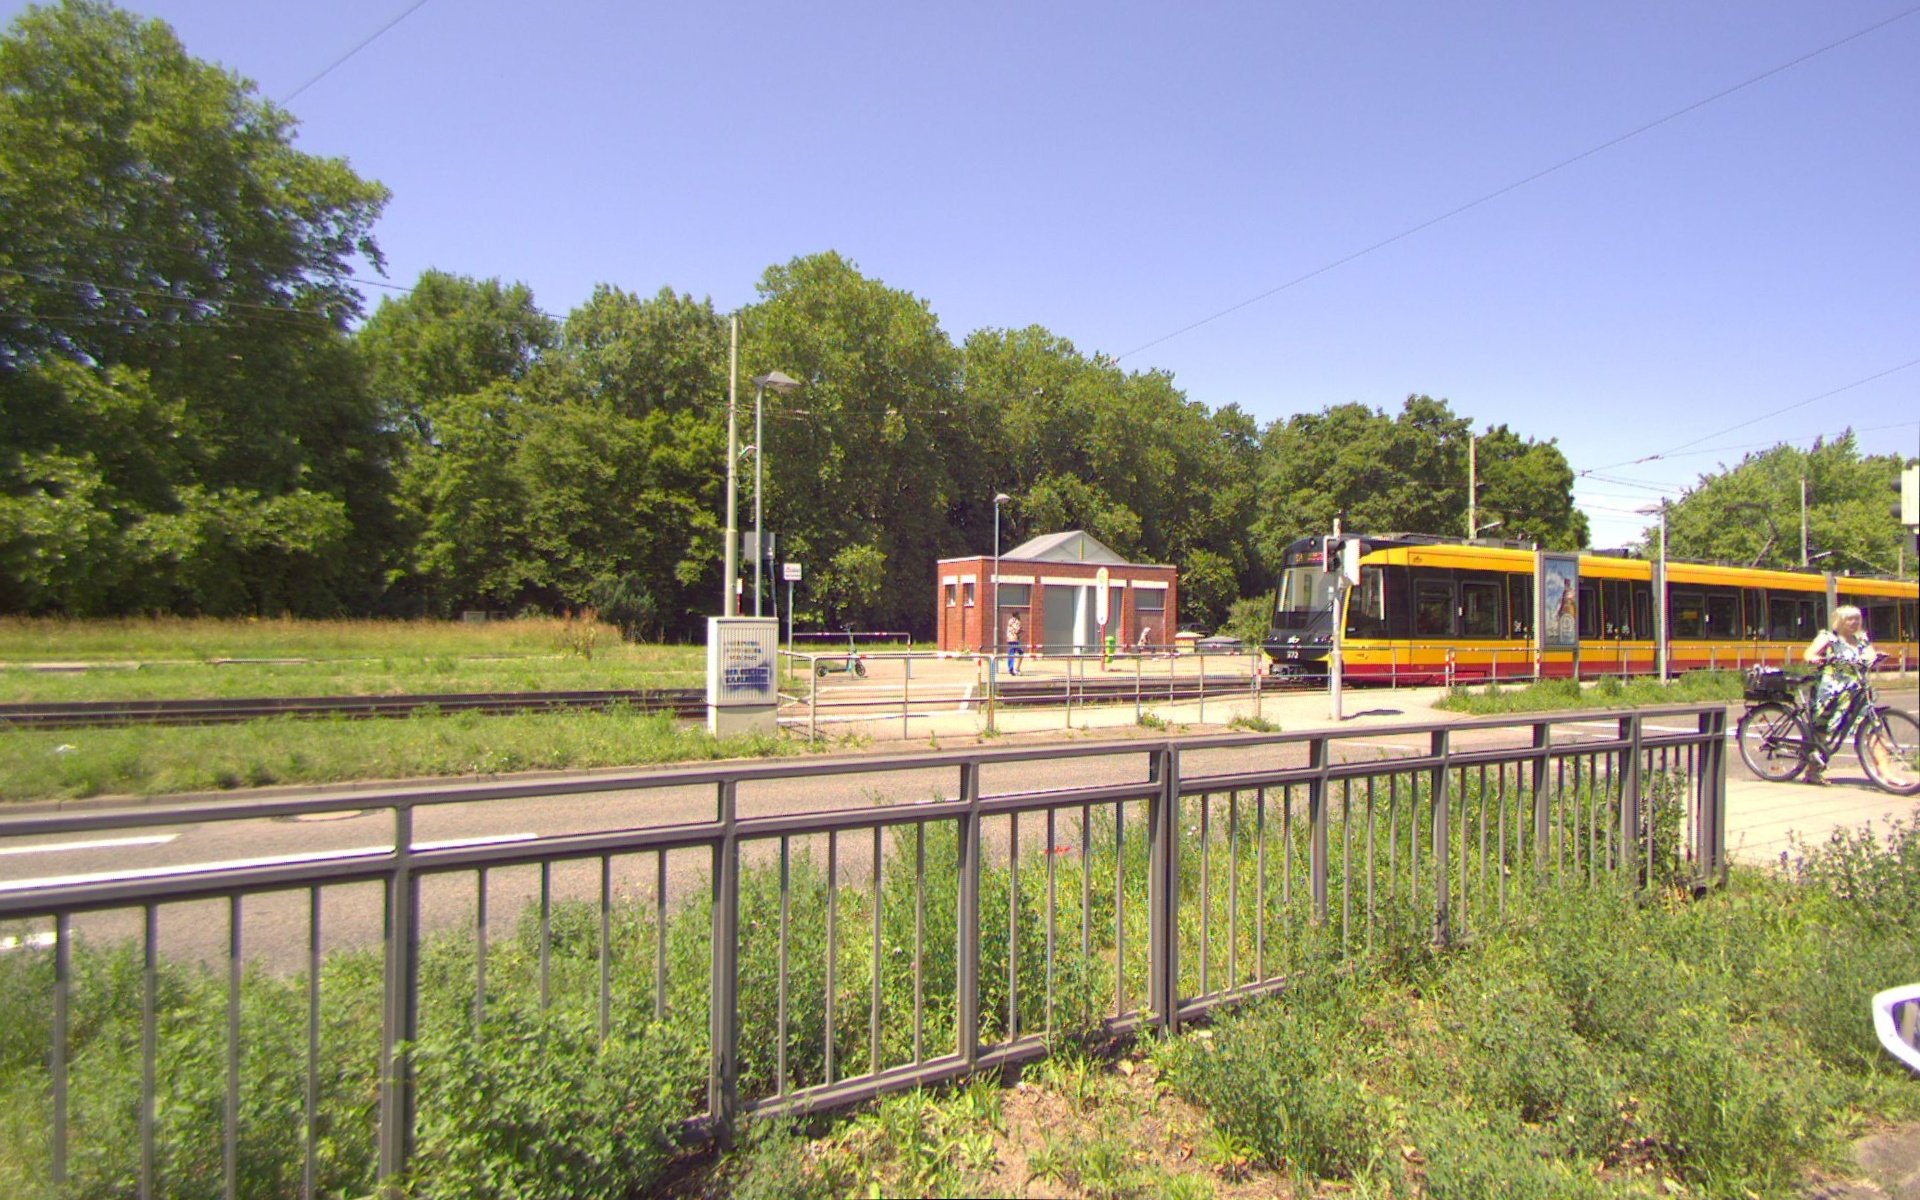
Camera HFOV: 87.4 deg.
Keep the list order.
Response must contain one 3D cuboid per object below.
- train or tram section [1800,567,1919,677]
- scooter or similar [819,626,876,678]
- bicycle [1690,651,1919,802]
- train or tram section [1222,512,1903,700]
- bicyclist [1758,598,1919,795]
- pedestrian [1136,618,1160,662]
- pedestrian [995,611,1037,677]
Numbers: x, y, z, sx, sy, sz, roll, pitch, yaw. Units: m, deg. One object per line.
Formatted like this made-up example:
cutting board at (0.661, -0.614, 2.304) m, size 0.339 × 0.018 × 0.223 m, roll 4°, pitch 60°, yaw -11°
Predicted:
train or tram section at (46.436, 1.116, 44.723) m, size 32.694 × 3.840 × 2.917 m, roll 1°, pitch -1°, yaw -30°
scooter or similar at (-2.626, 1.211, 23.460) m, size 1.217 × 1.183 × 0.508 m, roll 1°, pitch -1°, yaw -30°
bicycle at (7.679, 1.055, 9.004) m, size 0.531 × 1.176 × 1.960 m, roll -1°, pitch -2°, yaw -11°
train or tram section at (19.524, 0.445, 29.048) m, size 29.676 × 3.799 × 2.944 m, roll 1°, pitch -1°, yaw -30°
bicyclist at (8.051, 0.854, 9.211) m, size 0.570 × 1.688 × 0.958 m, roll -1°, pitch -2°, yaw -11°
pedestrian at (6.575, 1.394, 35.155) m, size 0.563 × 1.499 × 0.636 m, roll 1°, pitch -1°, yaw -30°
pedestrian at (1.386, 1.075, 24.776) m, size 0.799 × 1.611 × 0.668 m, roll 1°, pitch -1°, yaw -30°
